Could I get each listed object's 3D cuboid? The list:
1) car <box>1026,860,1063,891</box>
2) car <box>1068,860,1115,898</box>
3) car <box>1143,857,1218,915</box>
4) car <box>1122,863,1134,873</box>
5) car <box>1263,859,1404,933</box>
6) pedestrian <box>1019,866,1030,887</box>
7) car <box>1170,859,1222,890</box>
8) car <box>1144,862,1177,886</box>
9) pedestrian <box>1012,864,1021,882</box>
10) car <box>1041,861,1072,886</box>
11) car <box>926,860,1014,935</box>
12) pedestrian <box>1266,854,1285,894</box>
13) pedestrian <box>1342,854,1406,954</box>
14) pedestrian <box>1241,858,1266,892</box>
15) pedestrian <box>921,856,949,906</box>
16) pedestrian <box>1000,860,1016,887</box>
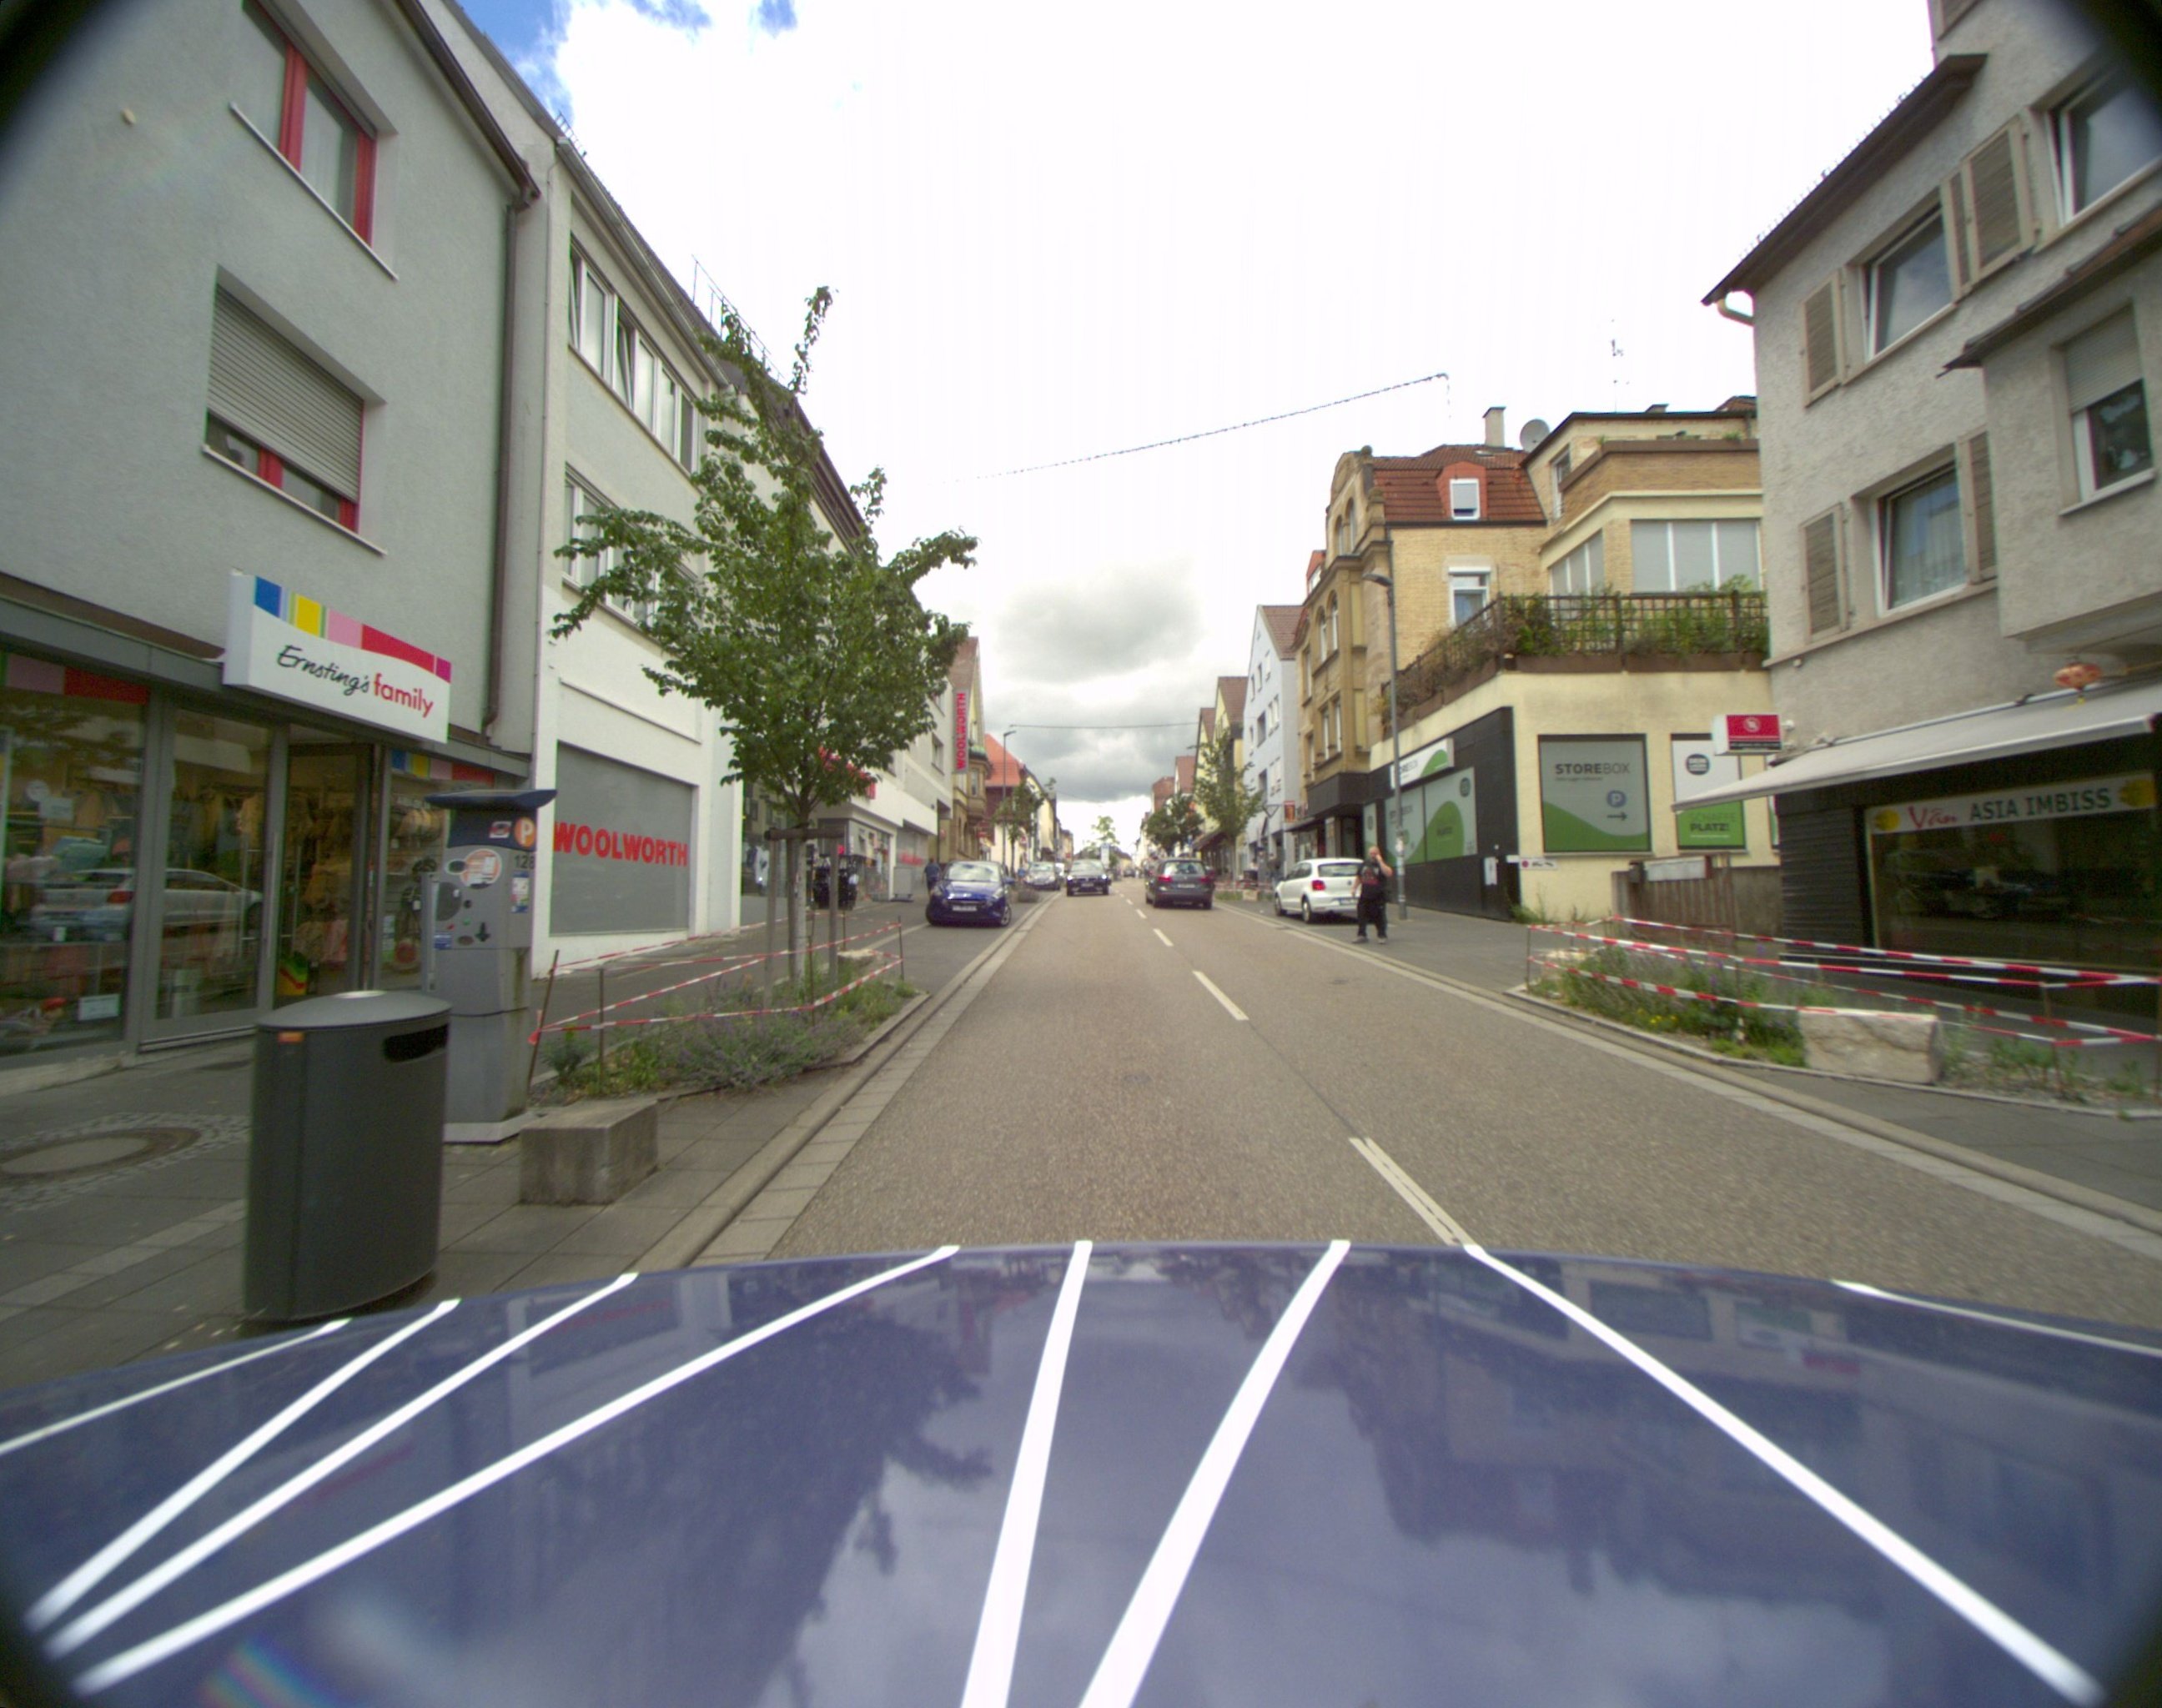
[{"bbox_3d":[-1.951,1.154,41.749,1.752,1.598,3.801,1,-1,2],"label":"car"},{"bbox_3d":[0.416,1.073,33.912,1.914,1.559,4.372,-1,-1,-1],"label":"car"},{"bbox_3d":[3.047,0.937,24.068,1.823,1.608,4.136,1,0,0],"label":"car"},{"bbox_3d":[8.163,2.444,131.929,1.968,1.611,4.356,-2,0,3],"label":"car"},{"bbox_3d":[5.952,0.939,18.482,1.931,1.502,4.262,-3,-1,0],"label":"car"},{"bbox_3d":[-4.572,1.815,61.332,0.798,1.716,1.053,0,-1,1],"label":"pedestrian"},{"bbox_3d":[6.074,1.091,40.590,1.931,1.483,4.843,-3,-1,0],"label":"car"},{"bbox_3d":[6.022,1.548,58.066,2.012,1.683,4.608,-2,-2,0],"label":"car"},{"bbox_3d":[-6.152,1.810,72.312,0.776,1.758,0.818,-1,-1,2],"label":"pedestrian"},{"bbox_3d":[-1.823,1.470,57.701,1.881,1.788,4.734,-1,-1,4],"label":"car"},{"bbox_3d":[-2.538,0.941,18.113,1.753,1.489,3.798,2,0,-4],"label":"car"},{"bbox_3d":[8.534,0.863,33.368,0.588,1.703,0.710,-3,0,1],"label":"pedestrian"},{"bbox_3d":[5.055,0.849,13.149,0.739,1.662,0.863,-1,0,-2],"label":"pedestrian"},{"bbox_3d":[7.651,0.941,33.720,0.828,1.454,0.810,-3,0,0],"label":"pedestrian"},{"bbox_3d":[-4.643,0.851,24.214,0.758,1.551,0.817,0,-1,-2],"label":"pedestrian"},{"bbox_3d":[-4.533,1.233,47.063,0.825,1.656,0.802,-1,-1,7],"label":"pedestrian"}]
